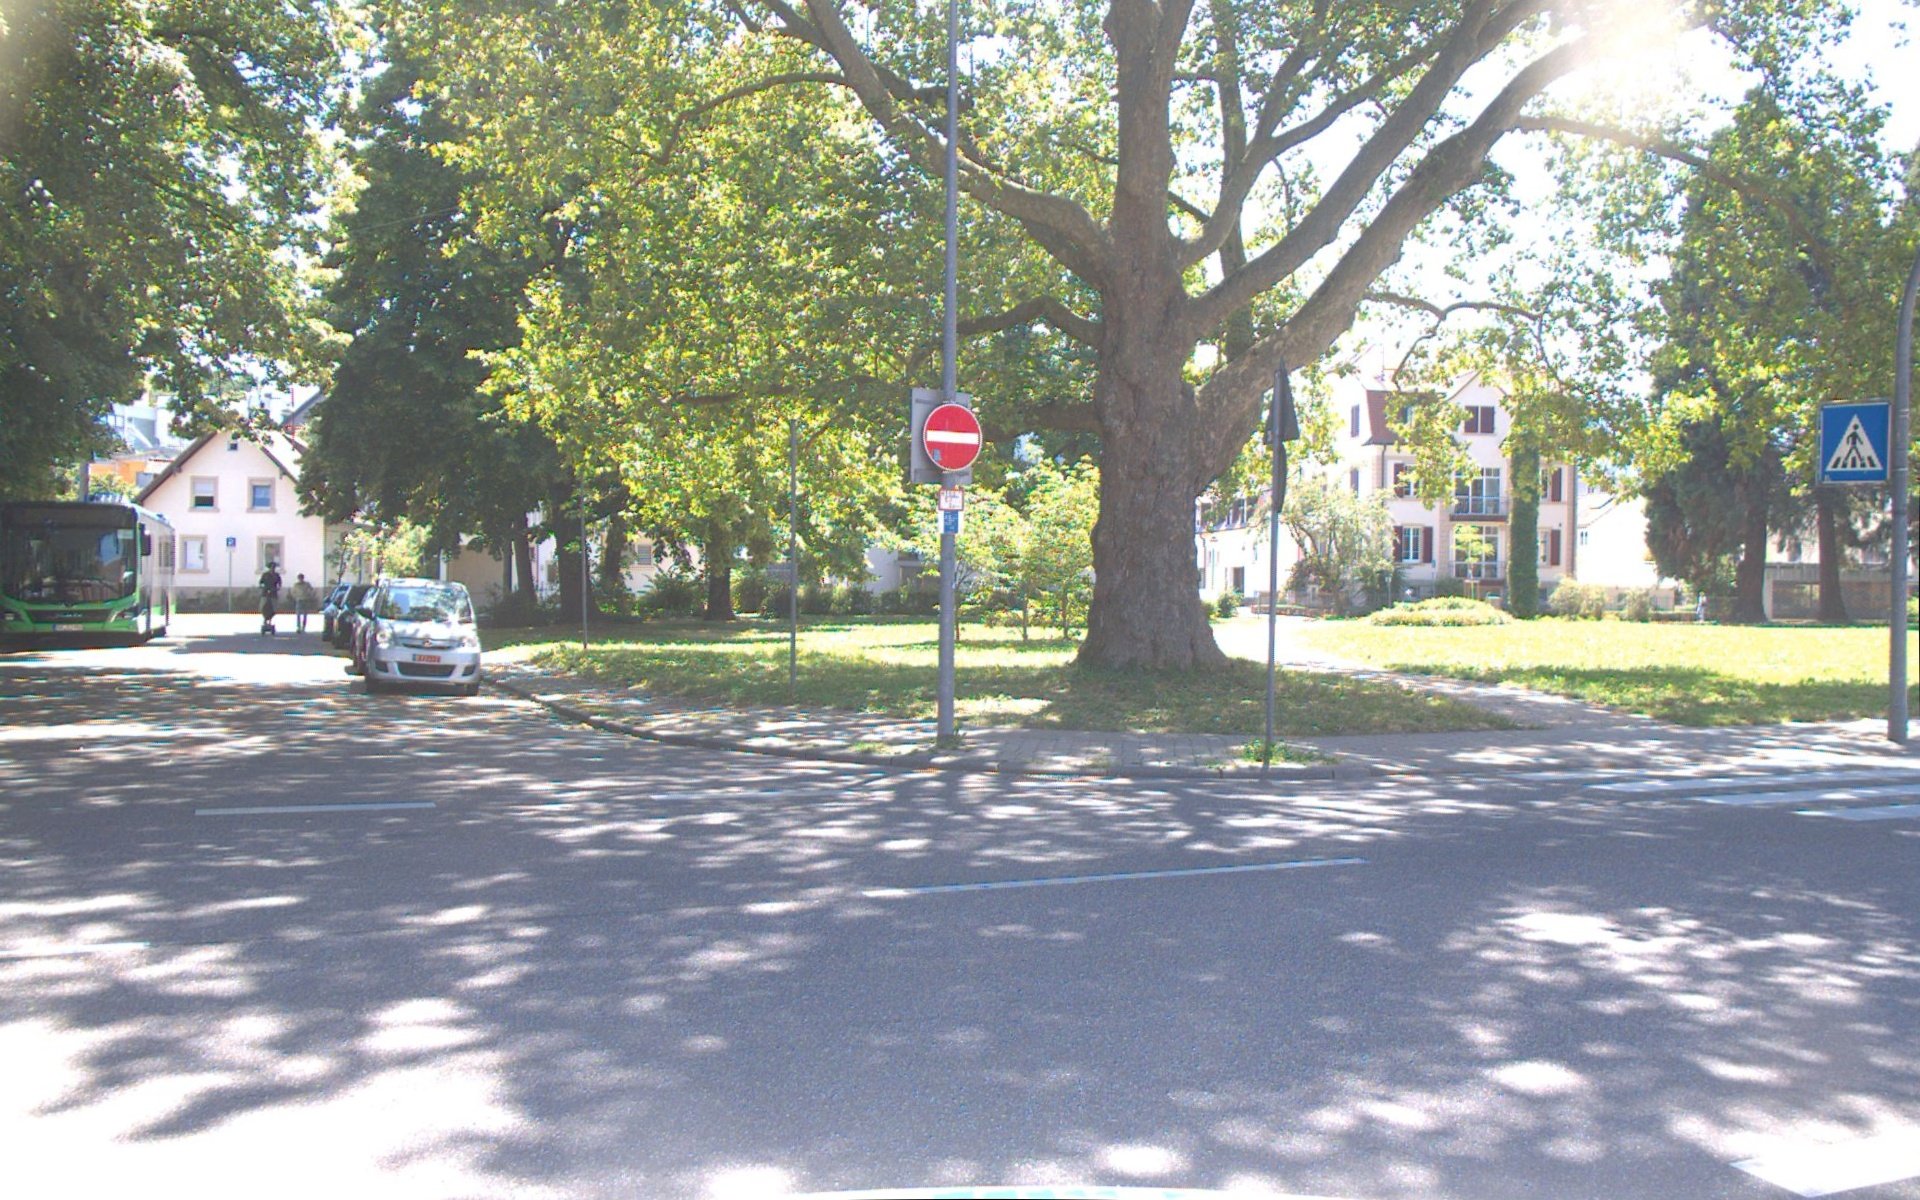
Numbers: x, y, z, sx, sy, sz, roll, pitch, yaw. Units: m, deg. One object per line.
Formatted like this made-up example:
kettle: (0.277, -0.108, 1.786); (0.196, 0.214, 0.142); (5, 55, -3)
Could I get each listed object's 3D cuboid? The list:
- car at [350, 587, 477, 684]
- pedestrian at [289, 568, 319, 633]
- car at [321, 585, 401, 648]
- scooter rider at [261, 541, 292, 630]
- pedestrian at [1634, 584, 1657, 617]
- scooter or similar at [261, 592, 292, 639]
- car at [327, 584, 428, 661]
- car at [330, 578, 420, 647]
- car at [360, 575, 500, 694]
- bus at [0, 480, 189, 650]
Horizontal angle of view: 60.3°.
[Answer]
car: (-9.412, 0.561, 28.283); (1.726, 1.464, 4.472); (2, 0, -22)
pedestrian: (-18.843, 0.010, 47.524); (0.708, 1.833, 0.936); (0, 1, -17)
car: (-15.421, 0.381, 42.483); (1.730, 1.519, 3.890); (0, 1, -23)
scooter rider: (-18.262, -0.385, 44.201); (0.728, 2.358, 0.921); (0, 1, -22)
pedestrian: (29.575, 0.015, 71.377); (0.809, 1.394, 0.617); (3, 2, 27)
scooter or similar: (-18.266, 0.396, 44.196); (0.728, 1.203, 1.509); (0, 1, -22)
car: (-12.145, 0.407, 34.320); (1.726, 1.464, 4.737); (0, 1, -22)
car: (-13.757, 0.246, 38.765); (1.730, 1.519, 4.345); (0, 1, -23)
car: (-7.507, 0.440, 23.271); (1.573, 1.523, 3.462); (2, 0, -23)
bus: (-20.838, -0.782, 40.436); (2.829, 3.352, 15.842); (0, 1, -22)
